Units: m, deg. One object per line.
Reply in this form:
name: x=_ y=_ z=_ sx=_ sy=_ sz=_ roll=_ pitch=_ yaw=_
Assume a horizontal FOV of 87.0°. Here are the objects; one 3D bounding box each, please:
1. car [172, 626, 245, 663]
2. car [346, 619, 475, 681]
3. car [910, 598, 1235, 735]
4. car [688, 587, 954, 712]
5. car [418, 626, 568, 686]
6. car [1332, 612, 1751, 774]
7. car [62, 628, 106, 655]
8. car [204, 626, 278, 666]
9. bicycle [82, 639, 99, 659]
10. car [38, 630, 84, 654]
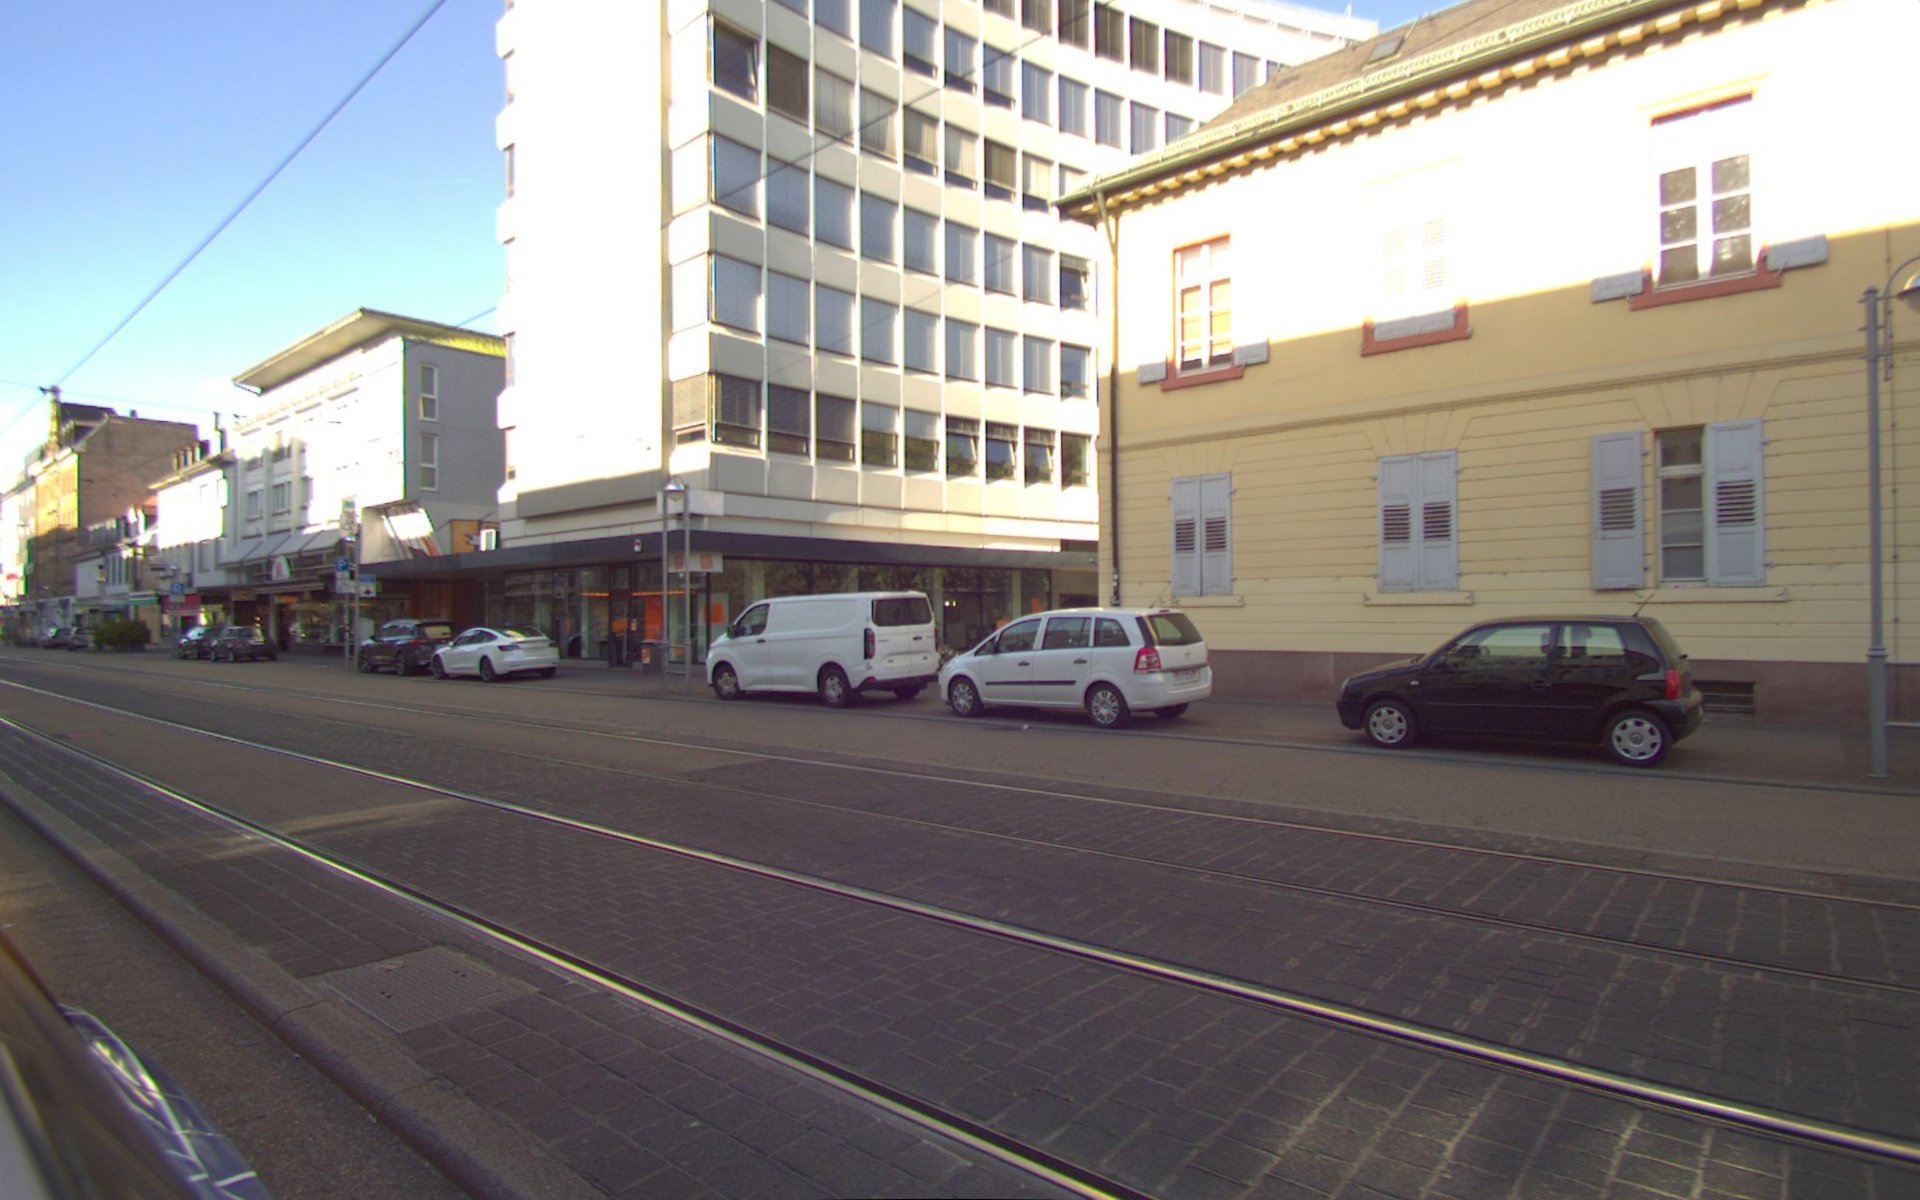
car: x=-34.709 y=1.992 z=46.701 sx=4.850 sy=1.535 sz=1.719 roll=-1 pitch=1 yaw=41
car: x=-16.994 y=1.477 z=31.215 sx=4.653 sy=1.691 sz=1.958 roll=-1 pitch=1 yaw=41
car: x=1.529 y=0.875 z=15.085 sx=4.649 sy=1.698 sz=1.788 roll=-1 pitch=1 yaw=43
car: x=-2.699 y=0.826 z=18.808 sx=5.093 sy=1.990 sz=1.973 roll=-1 pitch=1 yaw=40
car: x=-12.799 y=1.457 z=27.616 sx=4.652 sy=1.431 sz=1.870 roll=-1 pitch=1 yaw=40
car: x=6.194 y=0.881 z=10.991 sx=3.717 sy=1.411 sz=1.598 roll=-1 pitch=1 yaw=40
car: x=-56.654 y=2.667 z=65.439 sx=2.889 sy=1.616 sz=1.680 roll=-1 pitch=0 yaw=41
car: x=-30.319 y=1.920 z=42.642 sx=3.585 sy=1.535 sz=1.585 roll=-1 pitch=1 yaw=38
bicycle: x=-51.888 y=2.905 z=60.385 sx=1.715 sy=1.098 sz=0.513 roll=-1 pitch=1 yaw=41
car: x=-63.635 y=2.938 z=71.627 sx=4.760 sy=1.525 sz=1.798 roll=-1 pitch=-1 yaw=41
